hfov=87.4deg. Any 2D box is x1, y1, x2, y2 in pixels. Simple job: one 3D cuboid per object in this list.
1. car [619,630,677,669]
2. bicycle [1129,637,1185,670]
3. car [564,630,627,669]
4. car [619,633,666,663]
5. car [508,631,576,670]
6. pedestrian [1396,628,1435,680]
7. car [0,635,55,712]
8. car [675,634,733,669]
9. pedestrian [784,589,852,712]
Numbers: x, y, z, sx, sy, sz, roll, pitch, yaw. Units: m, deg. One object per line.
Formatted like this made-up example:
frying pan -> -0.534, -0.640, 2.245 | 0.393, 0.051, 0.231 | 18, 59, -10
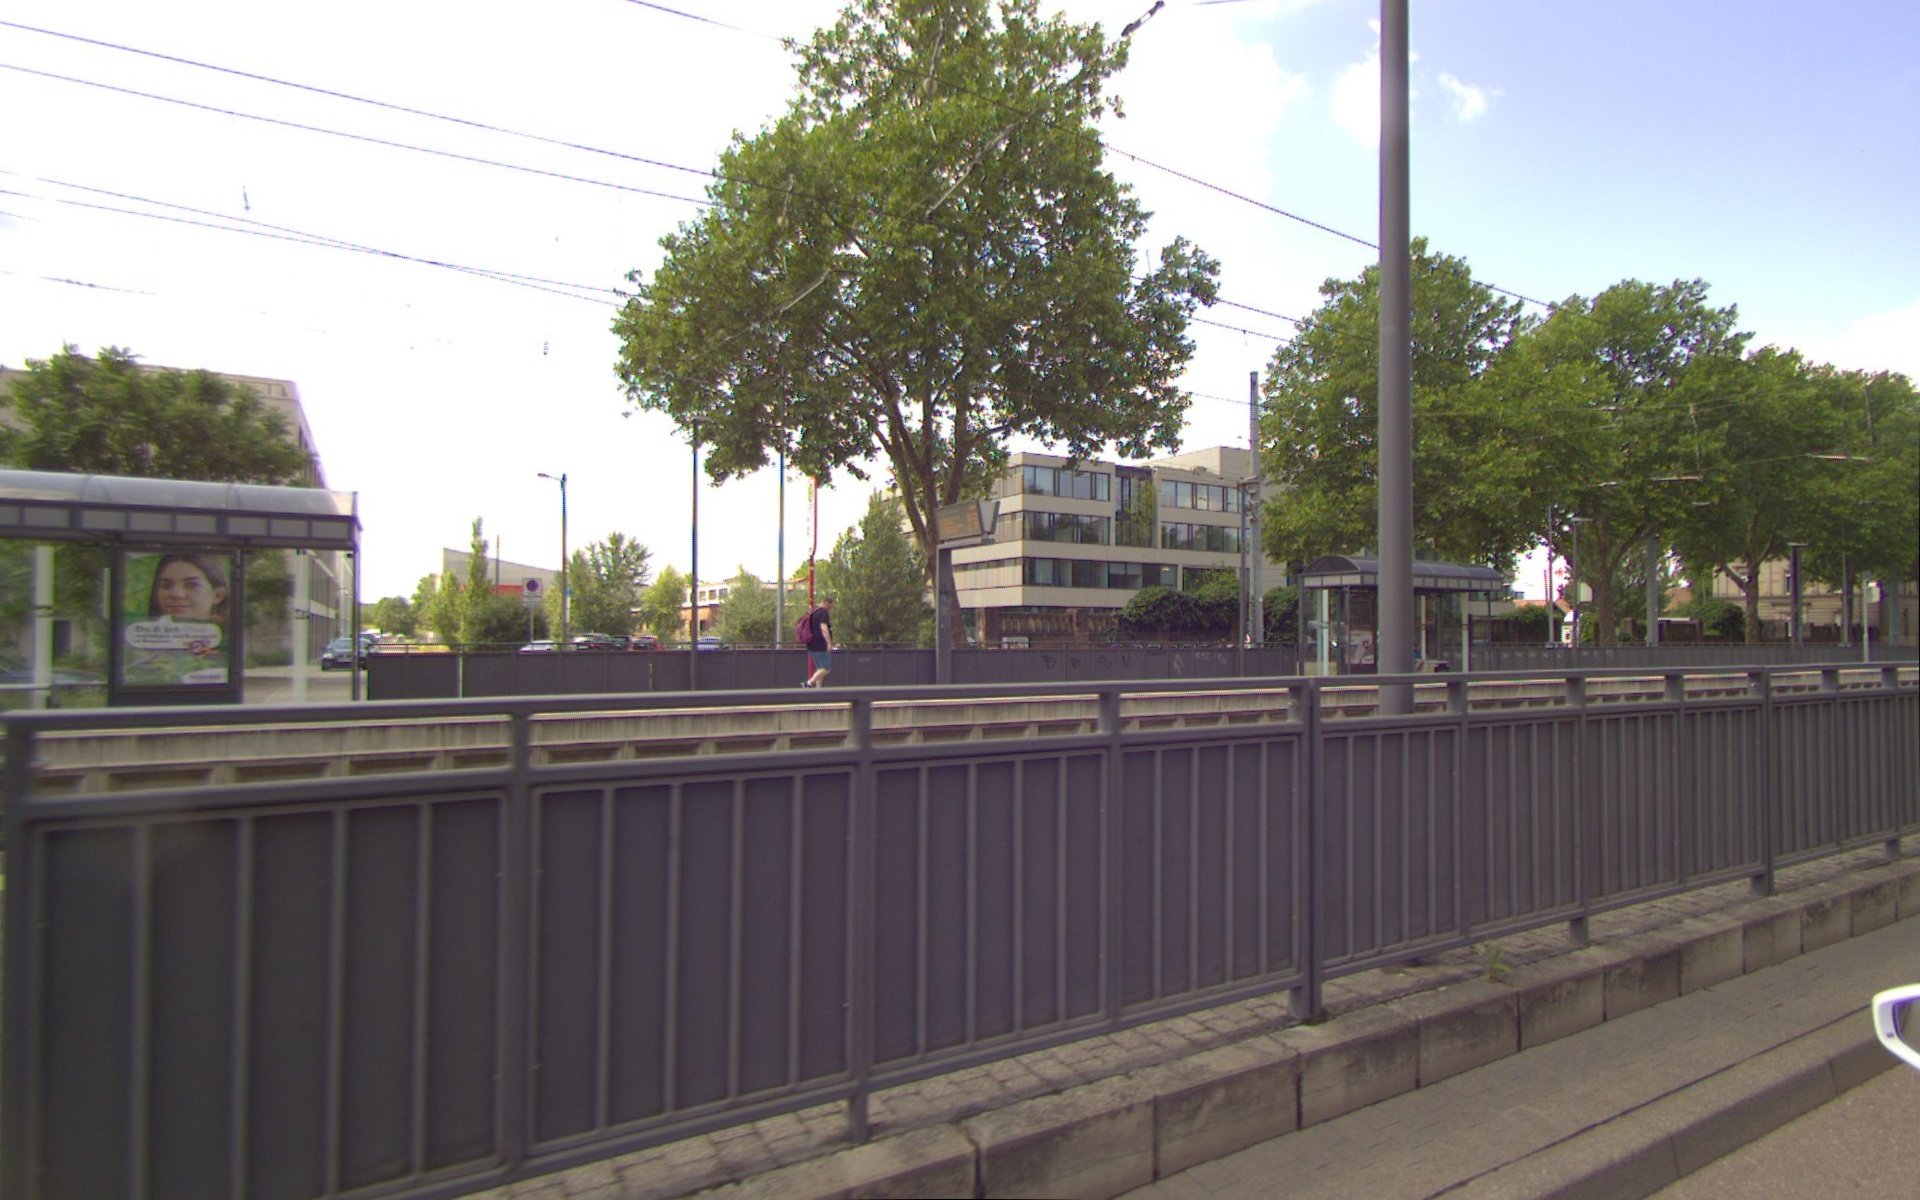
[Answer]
car -> -17.247, 2.770, 55.716 | 1.961, 2.039, 4.440 | 0, -3, -2
bicycle -> 8.147, 2.205, 41.723 | 0.626, 1.183, 3.029 | 1, 1, -25
car -> -20.053, 2.779, 55.461 | 1.961, 2.039, 4.440 | 0, -3, -2
car -> -19.307, 2.953, 61.190 | 1.801, 1.795, 4.000 | 0, -3, -4
car -> -22.956, 2.799, 55.362 | 1.961, 2.039, 4.440 | 0, -3, -2
pedestrian -> 11.610, 1.362, 25.593 | 0.758, 1.286, 0.550 | 1, -2, -29
car -> -21.207, 1.531, 20.565 | 3.606, 1.554, 1.685 | 0, -2, -27
car -> -15.650, 3.132, 61.623 | 1.959, 2.040, 4.003 | -1, -2, 10
pedestrian -> -2.243, 0.787, 15.813 | 0.855, 1.869, 0.702 | 1, -2, -31
